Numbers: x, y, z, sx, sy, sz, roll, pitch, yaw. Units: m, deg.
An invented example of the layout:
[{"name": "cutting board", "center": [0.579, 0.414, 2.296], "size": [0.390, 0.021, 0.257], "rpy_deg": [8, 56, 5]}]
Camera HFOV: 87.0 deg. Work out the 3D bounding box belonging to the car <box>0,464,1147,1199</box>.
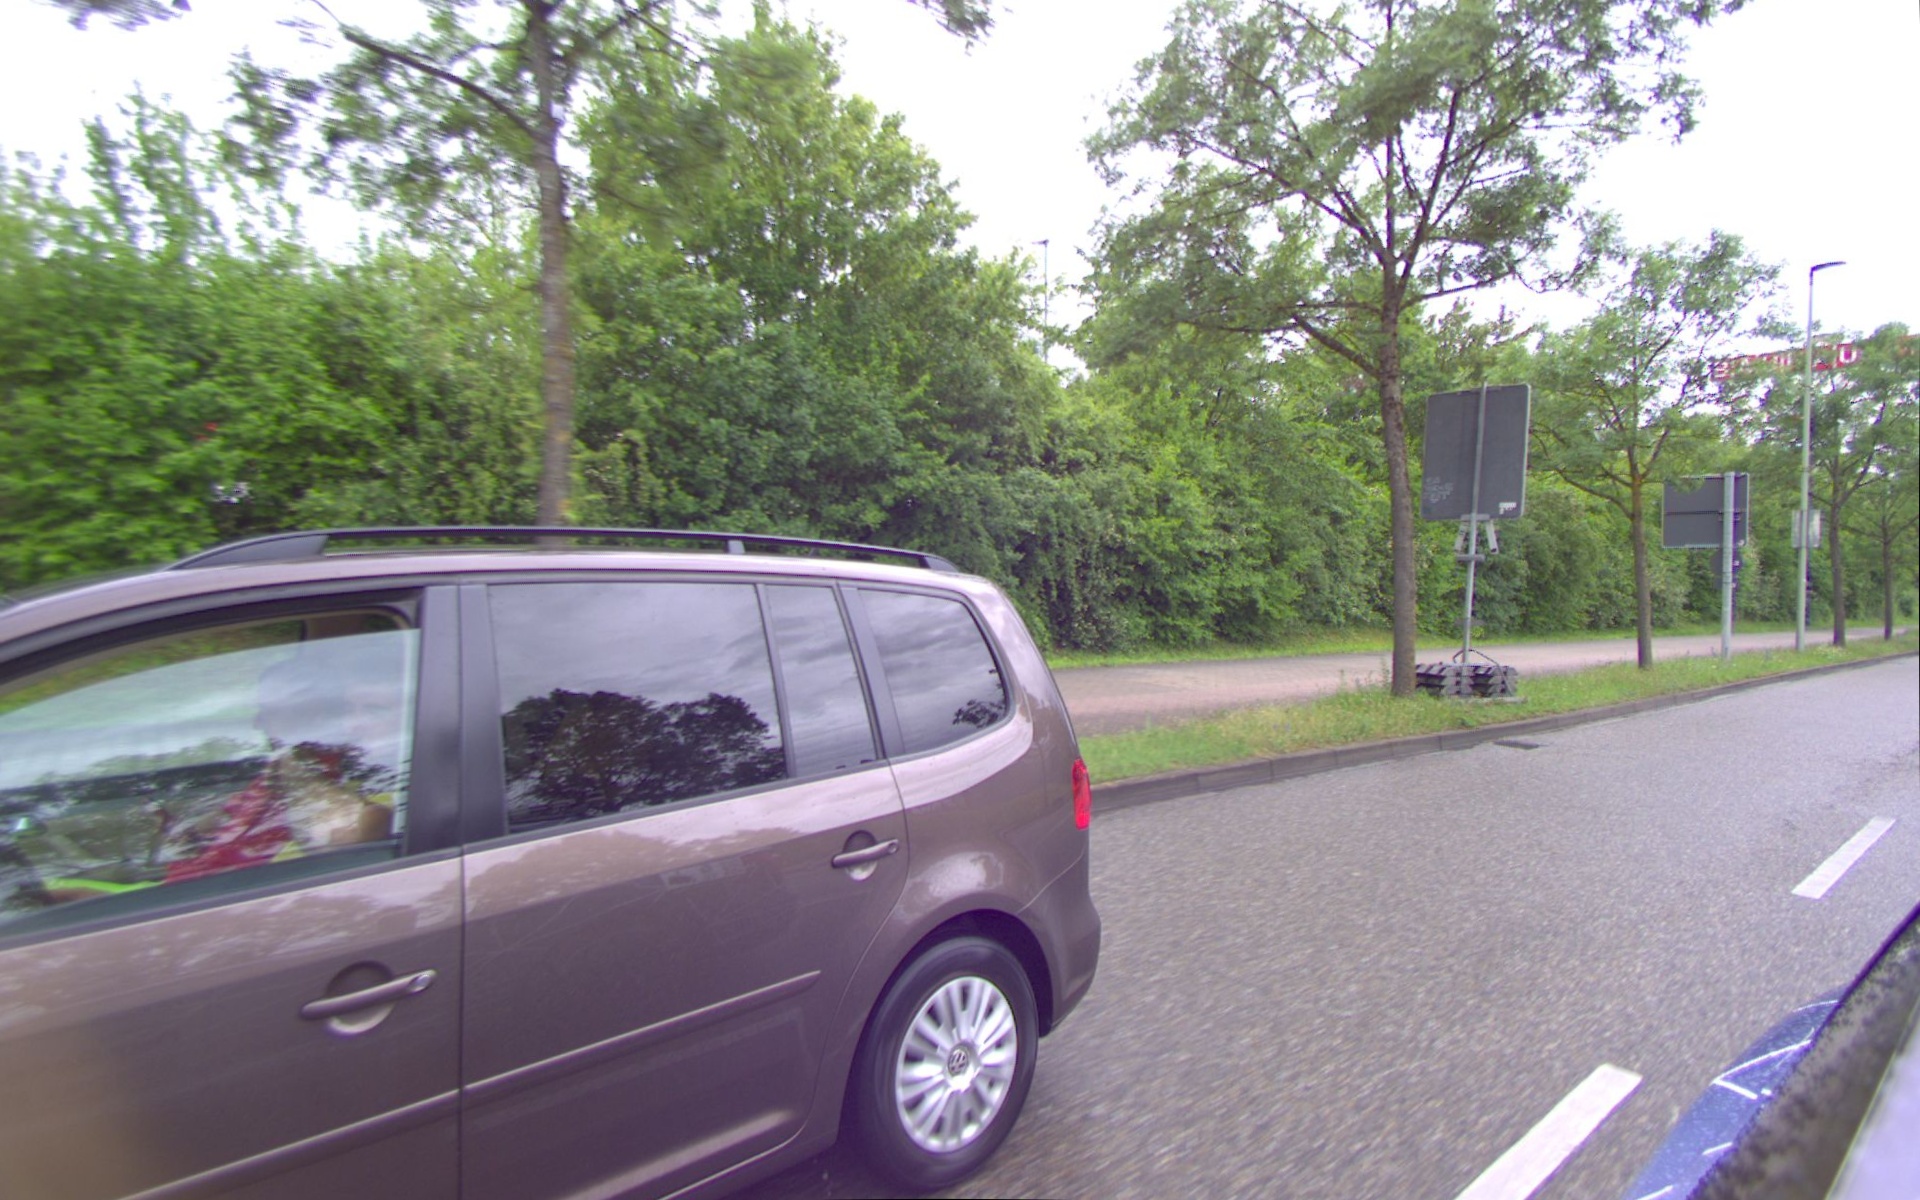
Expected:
[{"name": "car", "center": [-1.530, 0.615, 2.295], "size": [4.058, 1.617, 1.717], "rpy_deg": [0, 1, -41]}]
